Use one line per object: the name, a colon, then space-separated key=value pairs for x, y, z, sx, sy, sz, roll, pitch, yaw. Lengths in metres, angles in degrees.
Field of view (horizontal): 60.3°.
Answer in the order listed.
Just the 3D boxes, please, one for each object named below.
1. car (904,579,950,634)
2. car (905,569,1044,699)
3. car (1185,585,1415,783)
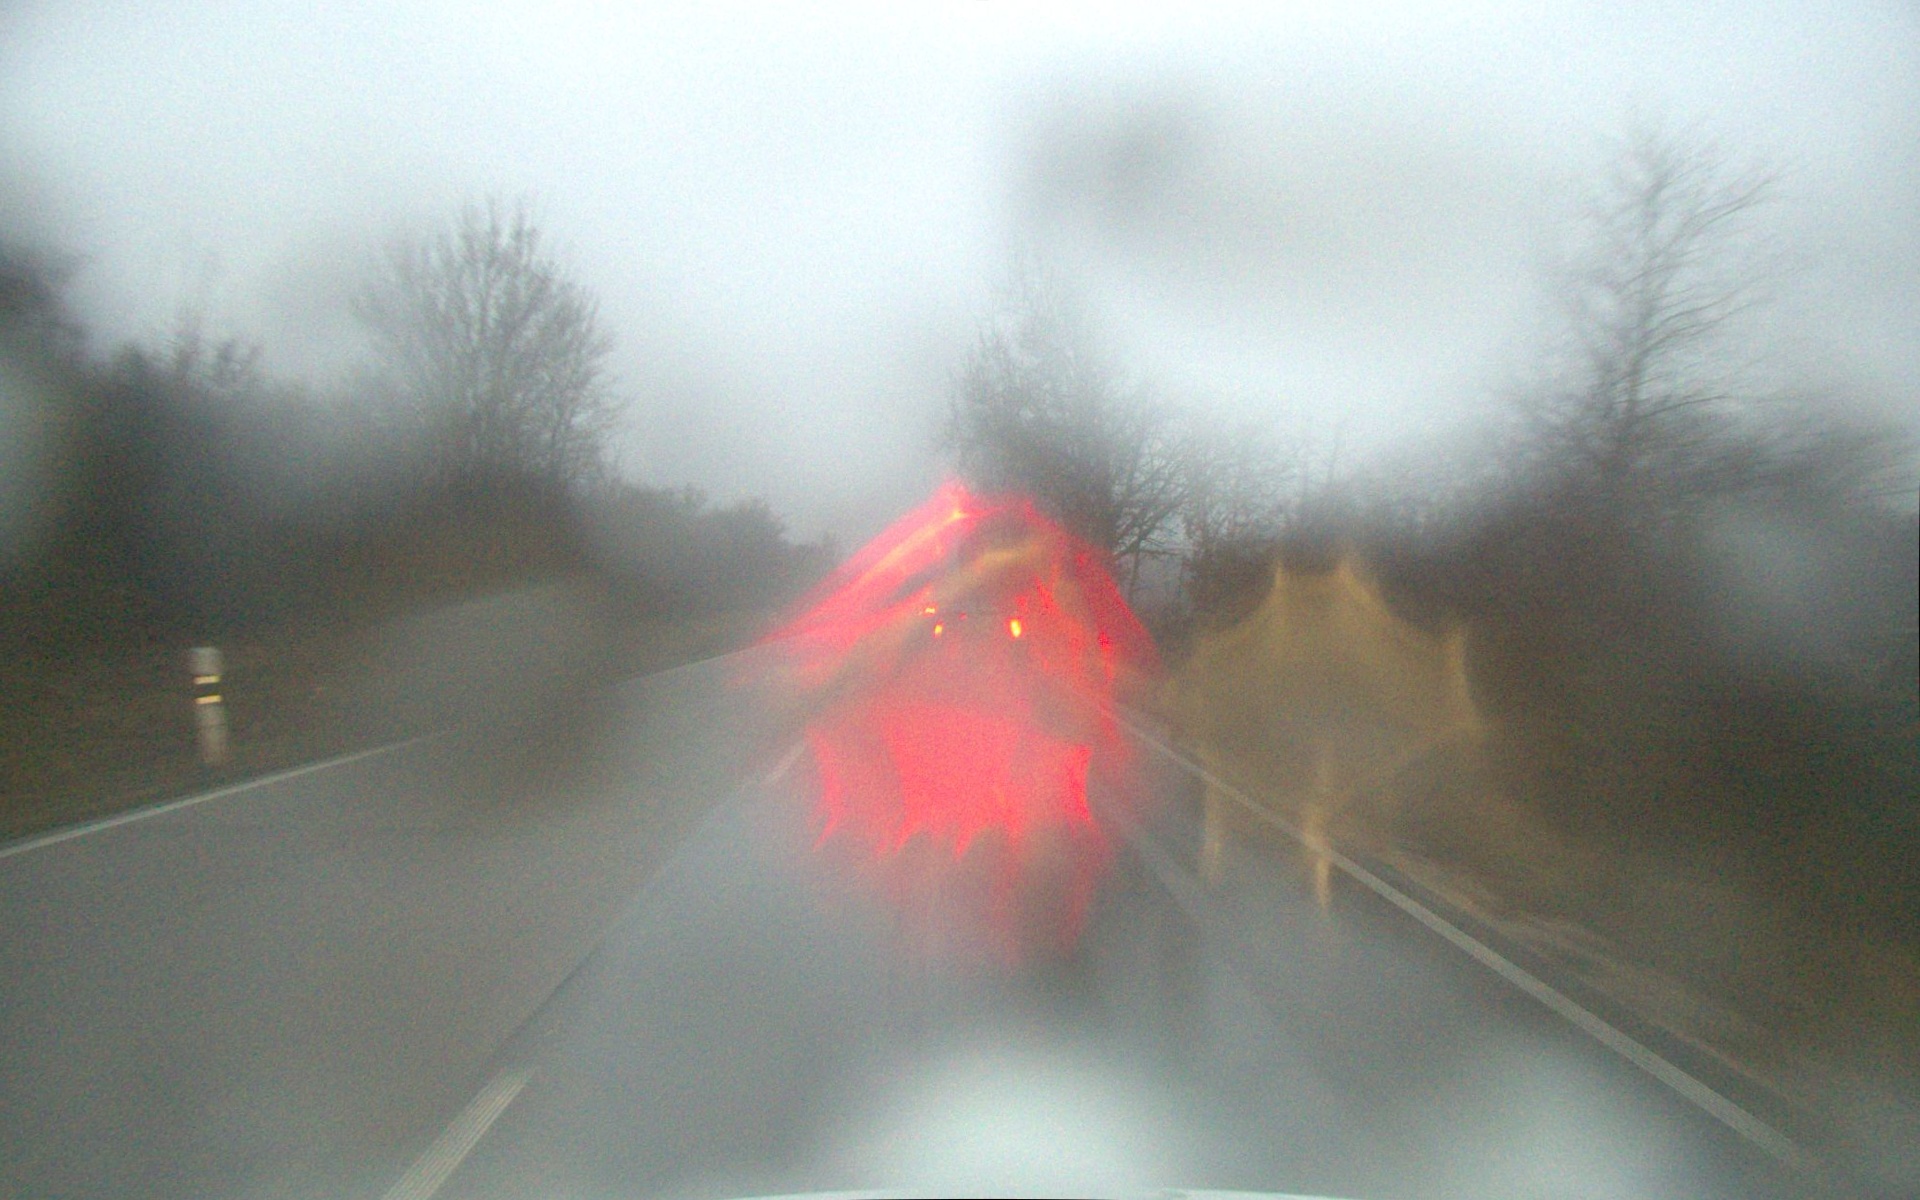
car: x=-1.183 y=0.230 z=60.811 sx=1.542 sy=1.907 sz=3.709 roll=1 pitch=0 yaw=0
car: x=0.231 y=0.483 z=25.759 sx=1.952 sy=1.816 sz=4.000 roll=1 pitch=0 yaw=0
car: x=3.096 y=0.699 z=15.673 sx=1.531 sy=1.619 sz=3.489 roll=1 pitch=0 yaw=2
